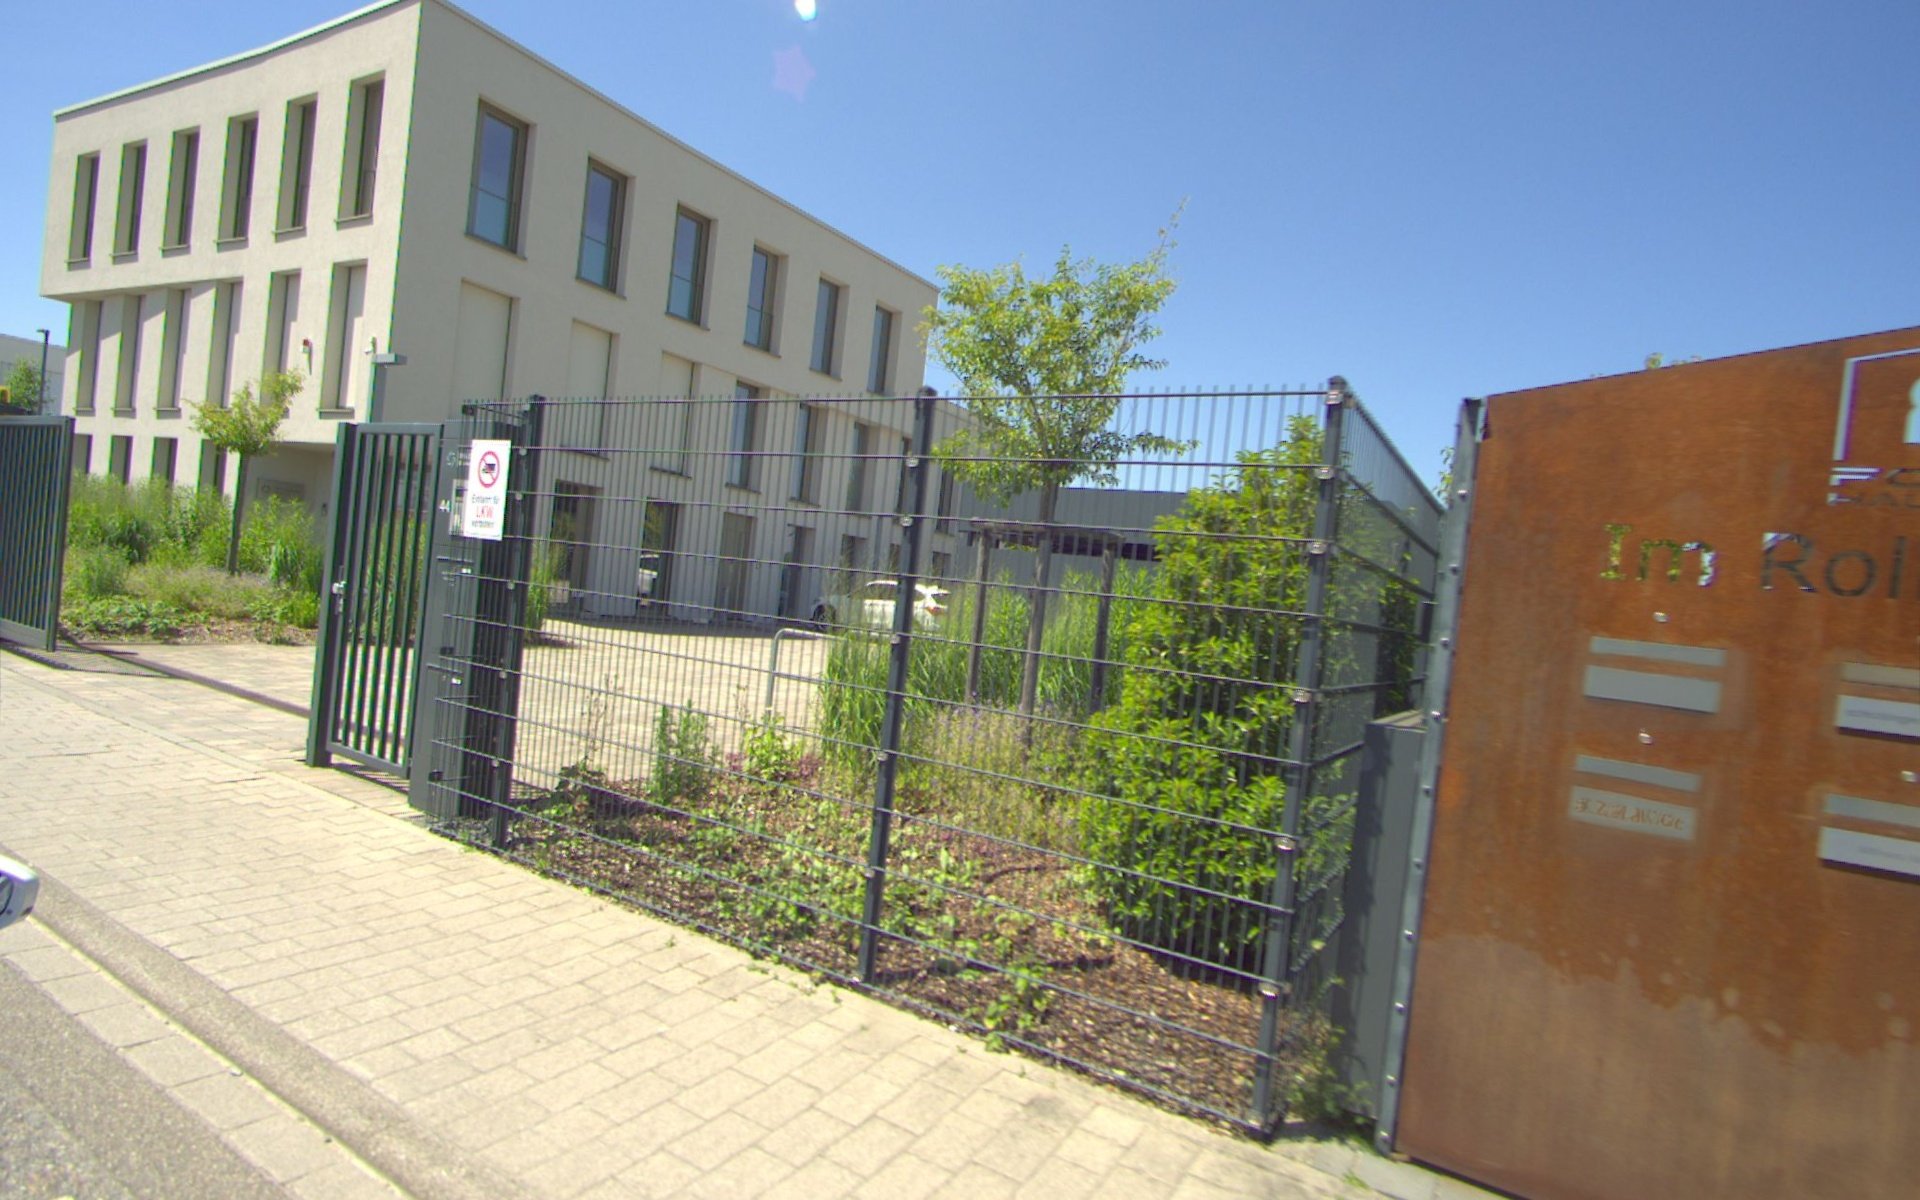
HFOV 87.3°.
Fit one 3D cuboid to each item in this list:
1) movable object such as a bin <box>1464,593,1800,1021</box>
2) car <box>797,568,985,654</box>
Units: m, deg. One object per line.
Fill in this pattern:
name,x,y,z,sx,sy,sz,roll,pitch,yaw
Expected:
movable object such as a bin,2.885,0.784,4.451,0.933,1.478,1.335,7,1,31
car,-1.837,0.274,26.357,4.443,1.609,1.995,8,2,31
